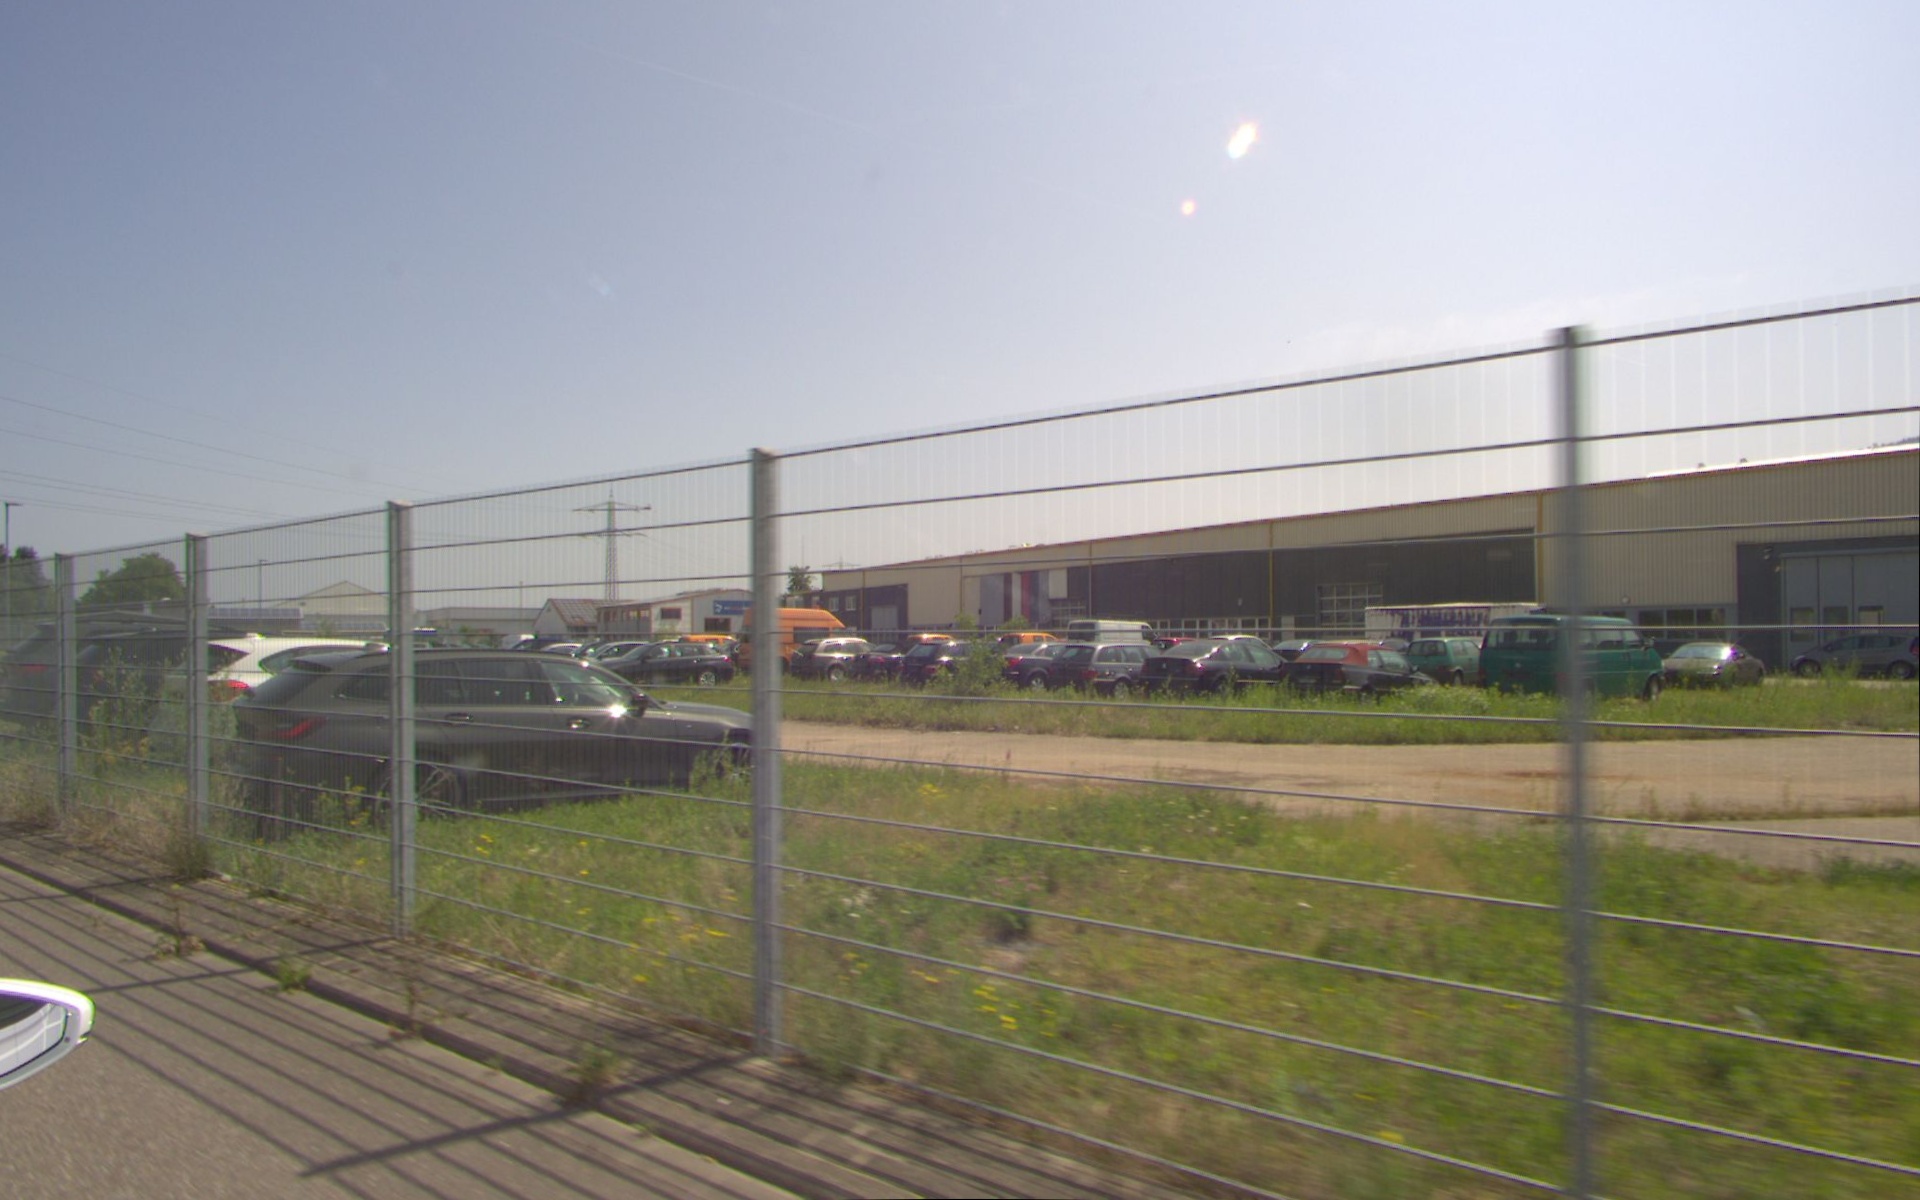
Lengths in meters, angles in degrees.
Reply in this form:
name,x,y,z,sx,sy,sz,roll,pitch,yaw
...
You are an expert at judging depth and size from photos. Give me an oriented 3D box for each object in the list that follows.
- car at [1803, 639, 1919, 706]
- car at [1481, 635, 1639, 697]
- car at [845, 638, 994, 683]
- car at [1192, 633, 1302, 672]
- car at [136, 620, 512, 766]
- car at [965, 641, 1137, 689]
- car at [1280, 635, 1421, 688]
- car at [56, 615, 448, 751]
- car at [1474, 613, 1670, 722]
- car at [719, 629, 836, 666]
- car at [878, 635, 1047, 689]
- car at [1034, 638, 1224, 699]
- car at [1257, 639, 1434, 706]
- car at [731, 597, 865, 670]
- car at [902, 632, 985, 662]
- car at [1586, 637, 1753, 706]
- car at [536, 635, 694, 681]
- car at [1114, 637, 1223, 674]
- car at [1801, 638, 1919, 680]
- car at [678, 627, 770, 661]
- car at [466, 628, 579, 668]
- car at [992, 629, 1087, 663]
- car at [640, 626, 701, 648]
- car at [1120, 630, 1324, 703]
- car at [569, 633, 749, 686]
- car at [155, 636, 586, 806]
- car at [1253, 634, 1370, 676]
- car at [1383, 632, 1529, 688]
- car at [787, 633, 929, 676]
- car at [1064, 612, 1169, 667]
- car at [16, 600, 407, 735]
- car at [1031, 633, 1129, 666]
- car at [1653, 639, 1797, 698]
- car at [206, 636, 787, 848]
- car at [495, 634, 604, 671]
name,x,y,z,sx,sy,sz,roll,pitch,yaw
car,22.213,1.687,24.142,4.333,1.395,1.830,1,-1,-35
car,15.257,1.607,25.412,4.333,1.395,1.830,1,-1,-35
car,-1.185,1.792,30.216,4.333,1.198,1.567,1,-1,-35
car,11.291,2.009,39.310,4.337,1.403,1.959,1,-1,-37
car,-7.291,0.956,11.733,1.498,1.436,3.451,-1,-1,39
car,2.356,1.595,25.424,4.333,1.046,1.608,1,-1,-35
car,11.742,1.789,30.009,4.333,1.395,1.830,1,-1,-35
car,-9.839,1.039,14.231,1.672,1.624,4.278,-1,-1,39
car,12.501,1.273,20.381,4.333,2.007,1.830,0,-1,-35
car,-7.421,1.900,40.804,4.333,1.395,1.830,1,-1,-35
car,0.109,1.618,27.125,4.333,1.291,1.866,1,-1,-35
car,3.972,1.524,23.303,4.333,1.221,1.830,1,-1,-35
car,7.531,1.358,19.499,3.332,1.123,1.661,1,-1,-35
car,-6.146,1.256,38.192,4.685,2.618,1.967,0,-1,-35
car,-0.890,2.511,54.389,4.337,1.504,1.740,1,-1,-37
car,16.681,1.605,23.487,4.333,1.395,1.830,1,-1,-35
car,-11.479,1.893,33.416,4.698,1.369,1.809,1,-1,-35
car,8.491,2.207,40.655,4.337,1.340,1.959,1,-1,-37
car,32.846,2.089,36.213,1.822,1.395,3.490,0,-1,-41
car,-10.651,1.963,45.297,3.780,1.480,1.578,1,-1,-35
car,-19.432,2.083,44.498,4.412,1.670,1.868,0,-1,-30
car,3.842,2.188,48.002,4.337,1.504,1.959,1,-1,-37
car,-26.165,3.384,90.469,5.010,1.923,1.847,2,-2,-34
car,5.618,1.338,21.261,4.333,1.363,1.830,1,-1,-35
car,-8.686,1.680,29.054,4.698,1.369,1.809,1,-1,-35
car,-5.765,1.055,10.022,3.444,1.335,1.625,1,-1,-45
car,12.848,1.970,36.532,4.333,1.395,1.830,1,-1,-35
car,13.979,1.625,28.152,4.333,1.395,1.830,1,-1,-35
car,-3.327,1.745,32.994,4.333,1.286,1.809,1,-1,-35
car,6.675,1.631,42.524,4.337,2.200,1.959,1,-1,-37
car,-11.440,0.934,15.609,1.723,1.792,4.662,-1,-1,42
car,5.490,2.237,45.713,4.333,1.395,1.830,1,-1,-35
car,20.527,1.777,26.833,4.333,1.395,1.830,1,-1,-35
car,-3.811,1.024,8.810,4.348,1.334,1.702,1,-1,-45
car,-16.141,2.029,39.408,3.725,1.318,1.601,1,-1,-35
